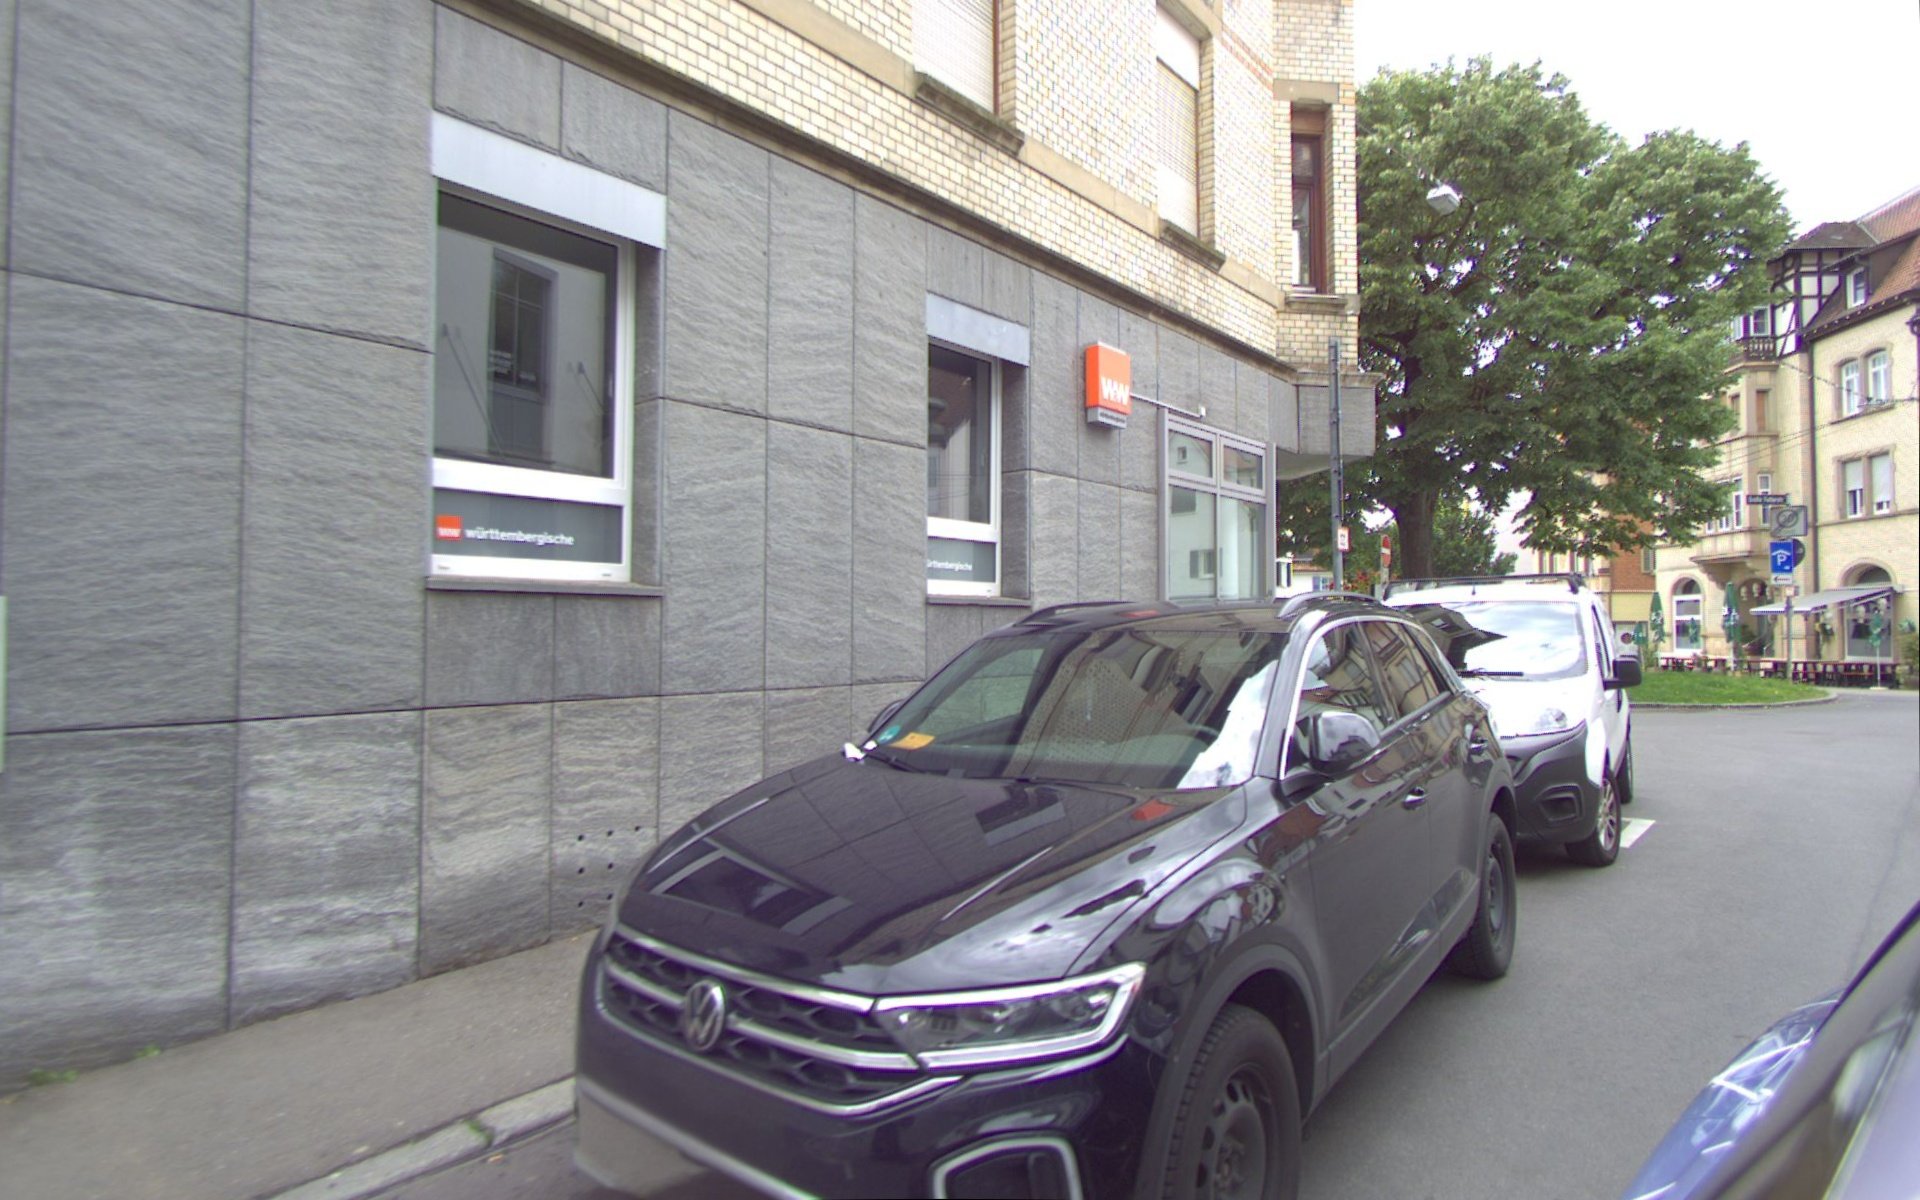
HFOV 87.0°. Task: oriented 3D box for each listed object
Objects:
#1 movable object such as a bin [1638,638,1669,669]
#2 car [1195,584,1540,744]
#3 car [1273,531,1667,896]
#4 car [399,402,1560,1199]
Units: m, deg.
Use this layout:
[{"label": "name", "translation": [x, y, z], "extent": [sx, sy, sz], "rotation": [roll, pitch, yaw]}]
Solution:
[{"label": "movable object such as a bin", "translation": [33.619, 2.578, 49.083], "extent": [0.931, 1.396, 0.820], "rotation": [-3, 0, 15]}, {"label": "car", "translation": [5.076, 0.753, 13.256], "extent": [1.824, 1.726, 4.028], "rotation": [-1, -2, -23]}, {"label": "car", "translation": [3.883, 0.619, 7.285], "extent": [1.820, 1.815, 4.162], "rotation": [-2, -2, 37]}, {"label": "car", "translation": [0.750, 0.601, 3.582], "extent": [1.784, 1.621, 4.479], "rotation": [-2, -2, 38]}]
